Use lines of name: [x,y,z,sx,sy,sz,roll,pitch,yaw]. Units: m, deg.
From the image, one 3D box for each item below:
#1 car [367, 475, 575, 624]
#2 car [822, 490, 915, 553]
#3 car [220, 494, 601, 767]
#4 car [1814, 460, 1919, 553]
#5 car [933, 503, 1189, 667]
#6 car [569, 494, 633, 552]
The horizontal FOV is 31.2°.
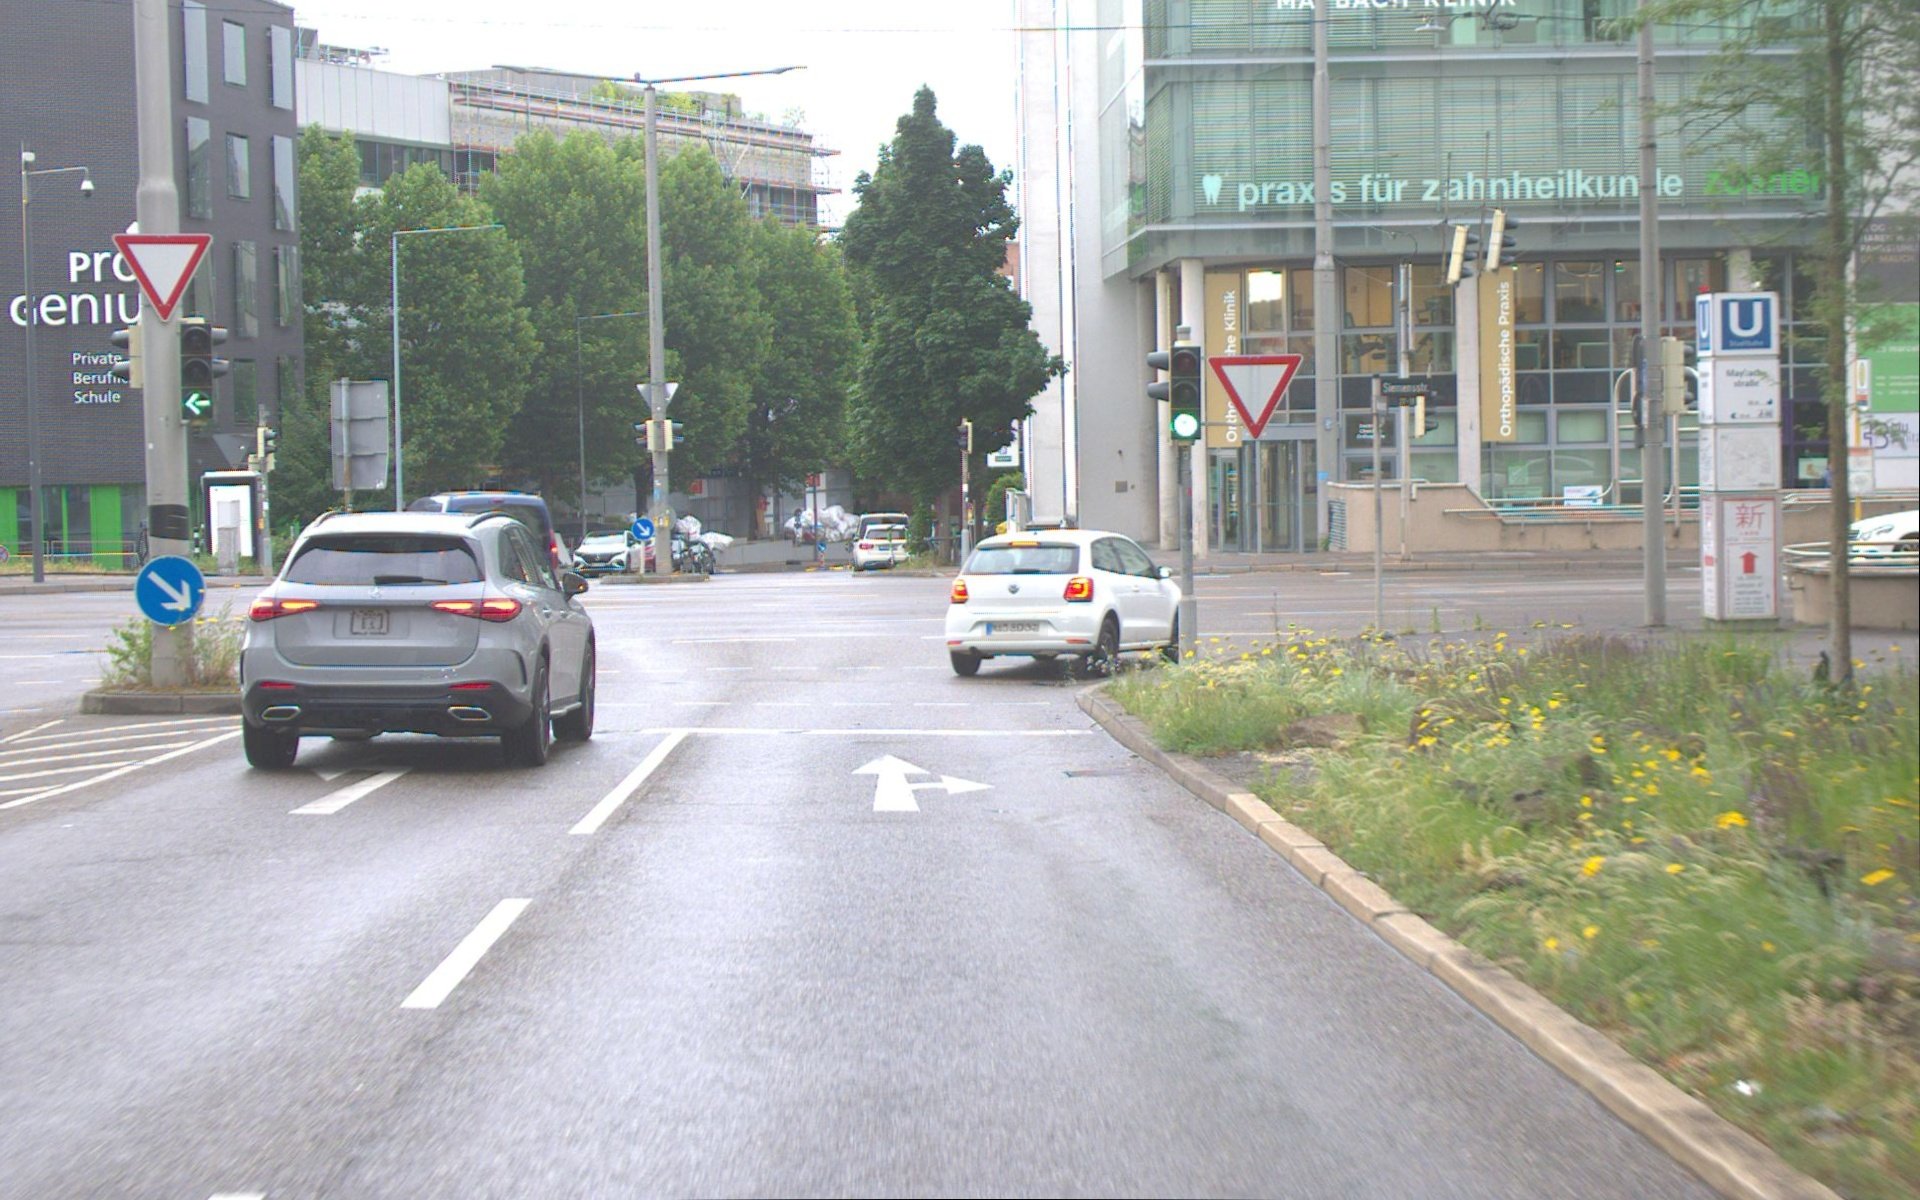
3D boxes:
car: [-6.185,-0.664,43.102,1.852,1.762,4.132,-1,2,-18]
car: [-2.646,-2.247,98.457,1.993,1.711,4.001,1,1,-11]
car: [-3.575,0.140,23.090,1.908,1.626,4.211,1,1,-1]
car: [15.969,-1.475,53.356,4.946,1.382,1.824,0,3,-2]
car: [1.104,-0.203,35.528,1.672,1.468,3.777,1,4,18]
car: [-12.896,-2.762,123.719,1.993,2.007,4.000,1,1,-2]
